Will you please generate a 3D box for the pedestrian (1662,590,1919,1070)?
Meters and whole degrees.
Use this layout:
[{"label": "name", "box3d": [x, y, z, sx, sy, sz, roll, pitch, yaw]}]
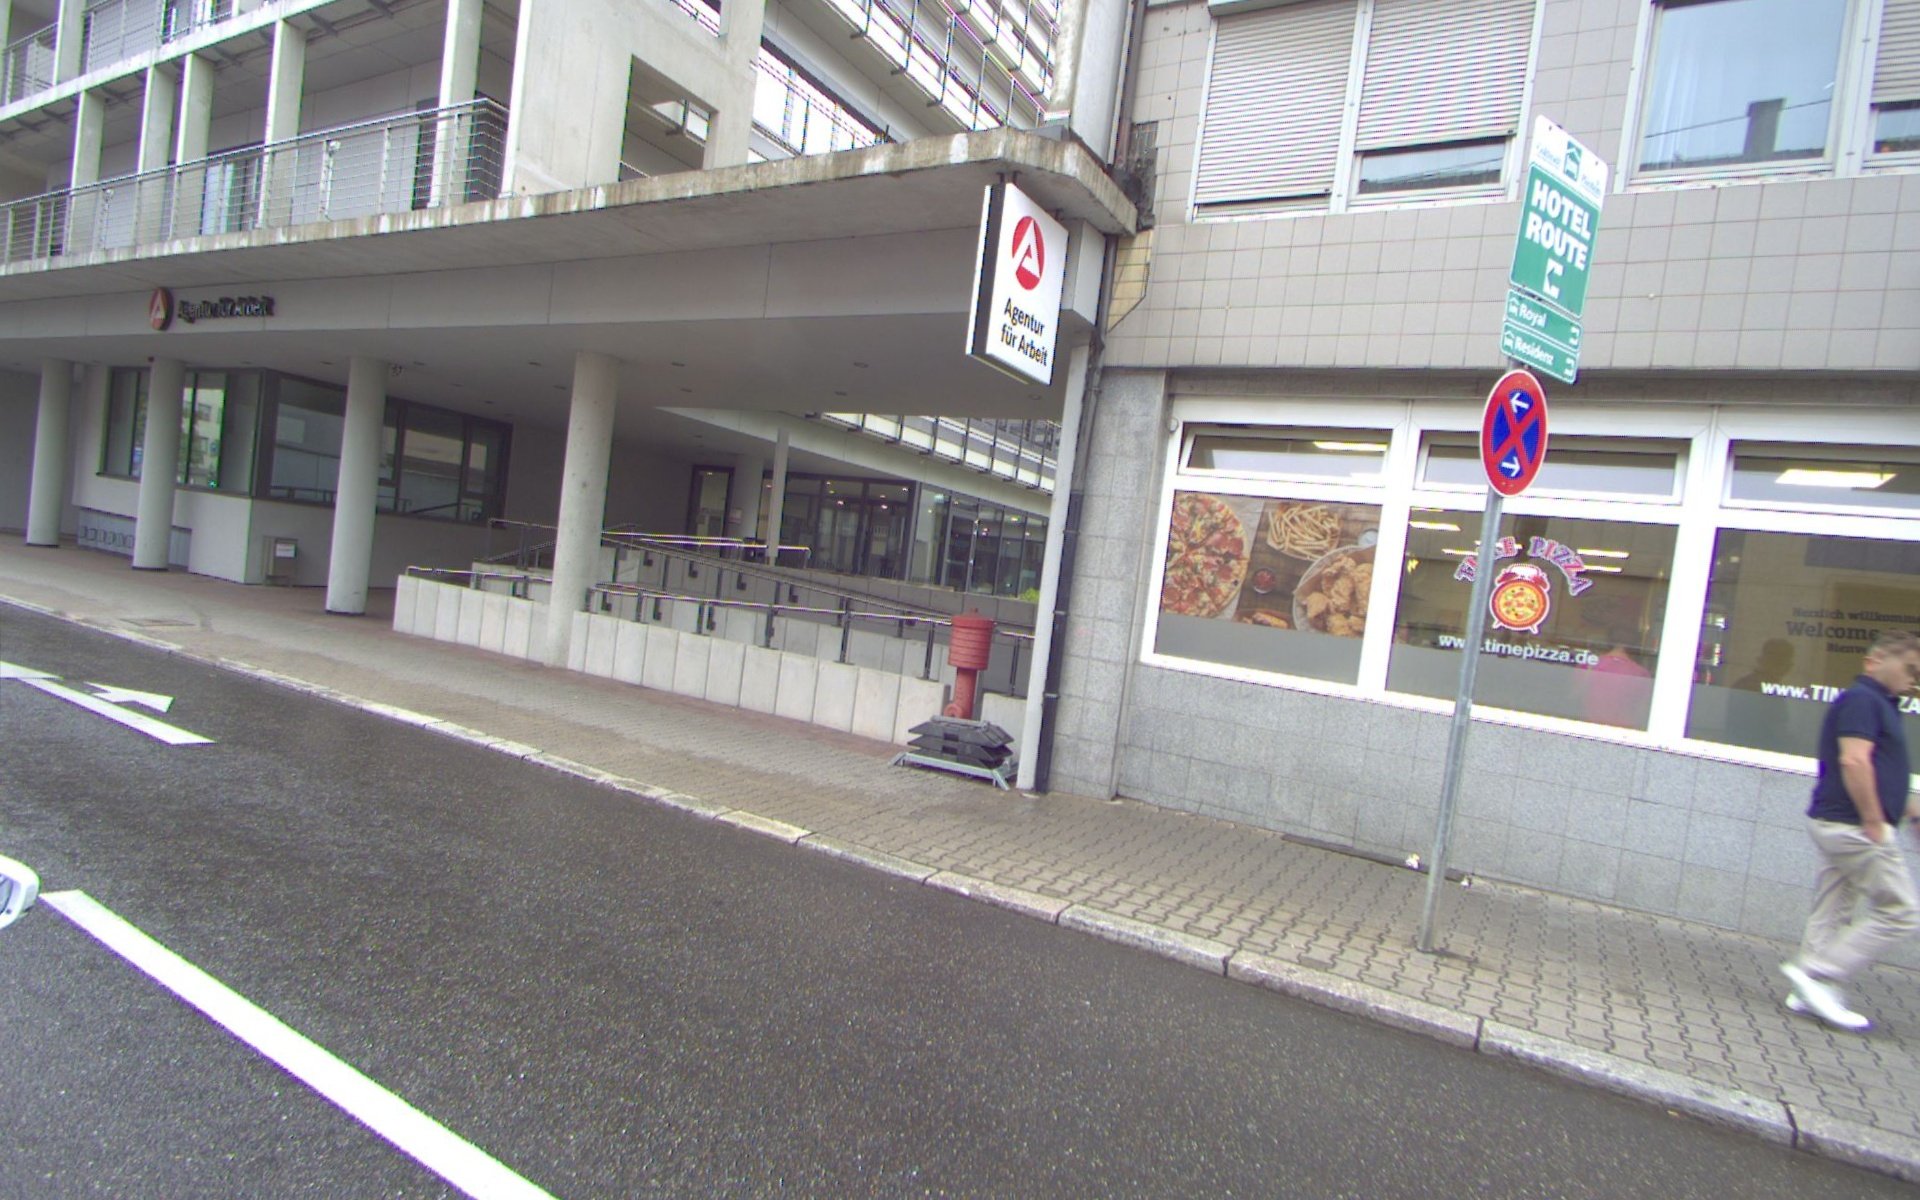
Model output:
[{"label": "pedestrian", "box3d": [3.987, 0.949, 4.541, 1.101, 1.893, 0.868, 6, 5, 32]}]
